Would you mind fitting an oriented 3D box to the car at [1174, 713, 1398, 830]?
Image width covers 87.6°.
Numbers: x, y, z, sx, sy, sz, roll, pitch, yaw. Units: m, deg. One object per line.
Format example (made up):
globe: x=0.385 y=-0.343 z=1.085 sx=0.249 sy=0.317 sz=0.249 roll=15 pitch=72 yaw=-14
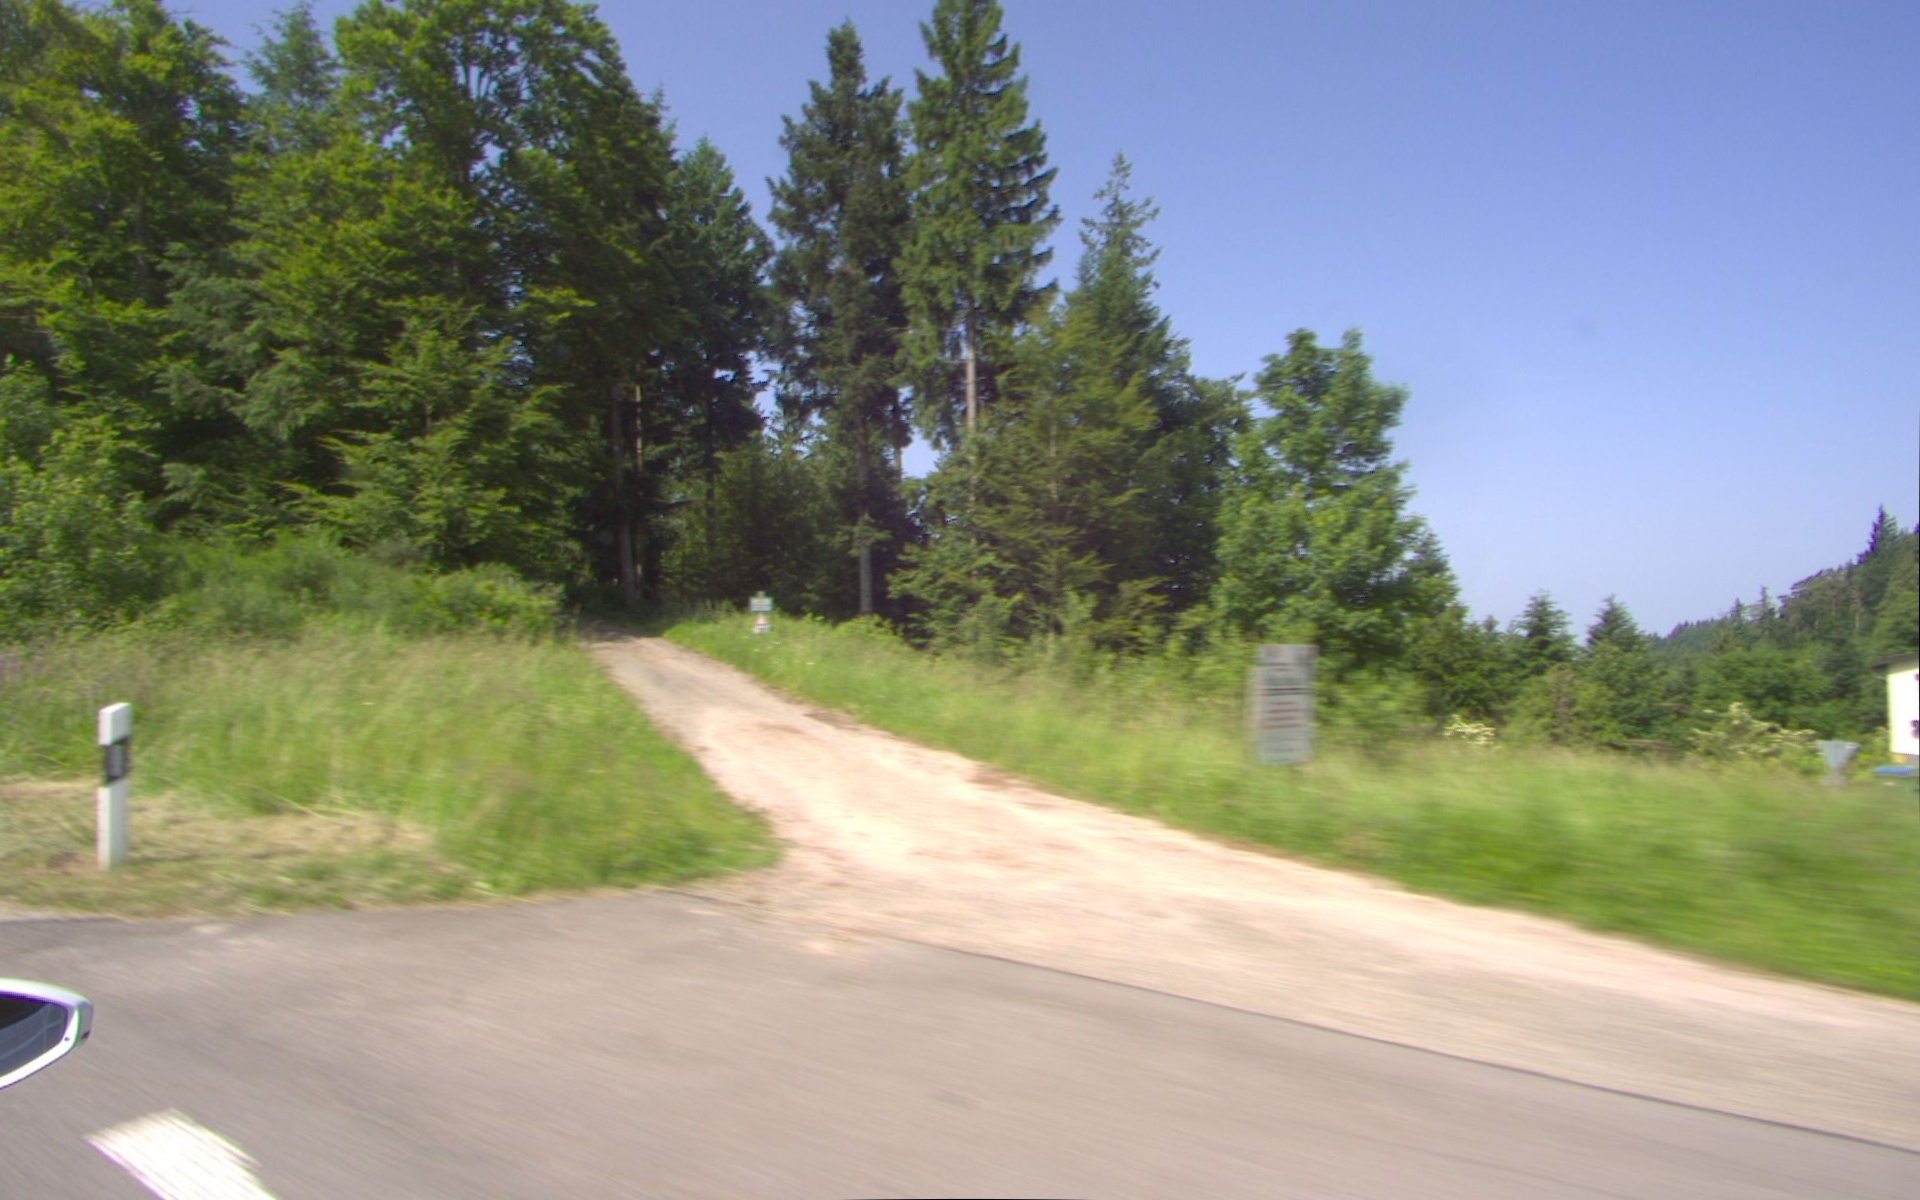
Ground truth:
car: x=5.978 y=3.143 z=18.896 sx=1.908 sy=1.612 sz=3.993 roll=7 pitch=-4 yaw=-19
